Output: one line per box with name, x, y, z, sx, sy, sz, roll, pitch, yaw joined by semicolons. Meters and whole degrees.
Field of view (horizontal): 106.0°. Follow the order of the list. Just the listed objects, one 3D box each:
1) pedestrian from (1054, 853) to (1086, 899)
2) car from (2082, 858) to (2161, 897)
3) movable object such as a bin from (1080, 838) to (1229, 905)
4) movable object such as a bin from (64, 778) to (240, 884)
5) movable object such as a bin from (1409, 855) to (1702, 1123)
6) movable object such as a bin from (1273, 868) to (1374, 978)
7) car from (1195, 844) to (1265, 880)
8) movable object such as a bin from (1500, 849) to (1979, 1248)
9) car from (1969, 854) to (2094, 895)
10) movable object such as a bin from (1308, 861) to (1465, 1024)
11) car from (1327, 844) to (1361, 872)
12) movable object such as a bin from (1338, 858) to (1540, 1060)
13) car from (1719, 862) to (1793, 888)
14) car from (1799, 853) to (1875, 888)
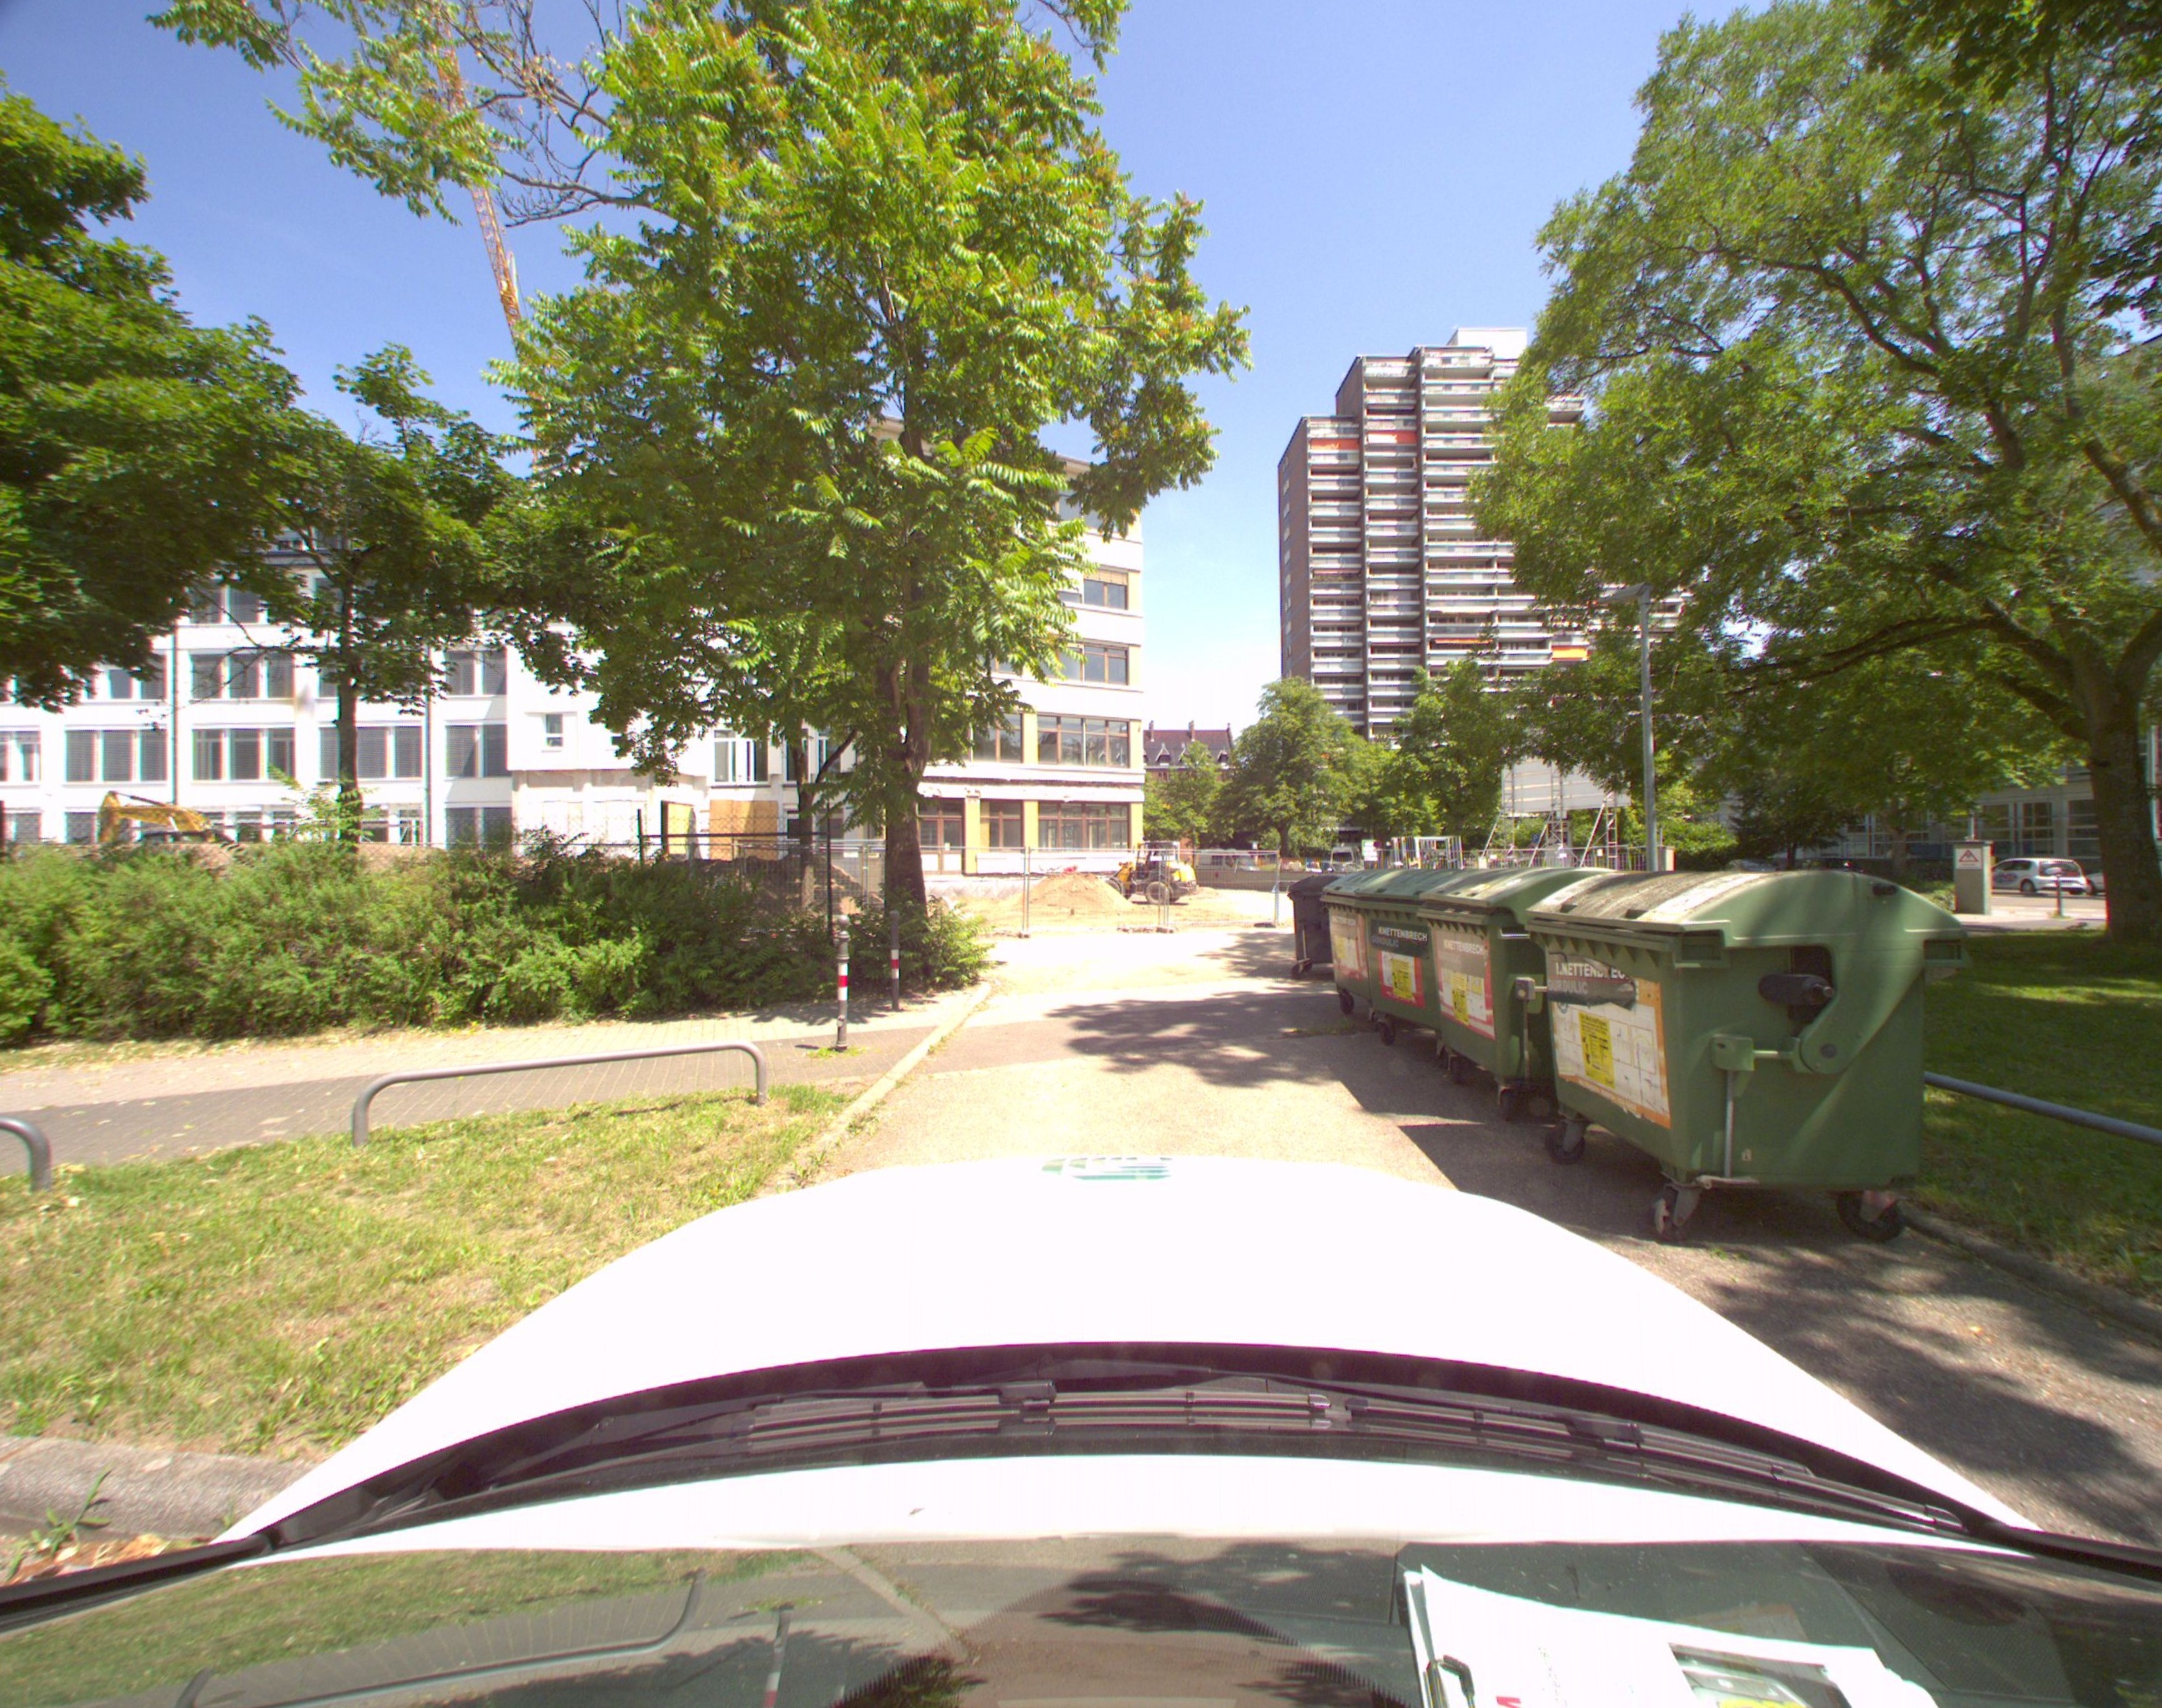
pedestrian;-0.469;0.905;33.789;0.973;1.847;0.923;-1;-1;31
car;40.642;0.863;30.936;1.650;1.415;3.730;-1;-1;21
movable object such as a bin;2.915;0.623;32.369;5.352;2.464;2.382;1;0;27
movable object such as a bin;-40.038;-0.926;35.186;5.676;4.372;2.003;-1;-1;5
movable object such as a bin;2.867;0.751;5.145;1.071;1.458;1.378;-1;-1;3
movable object such as a bin;3.388;0.931;11.534;1.071;1.458;1.378;-1;-1;3
car;10.275;0.584;56.629;2.004;2.416;5.197;0;-1;-27
movable object such as a bin;2.782;0.729;3.703;1.071;1.458;1.378;-1;-1;3
car;39.494;0.839;33.960;1.651;1.590;3.709;-1;-1;18
movable object such as a bin;2.944;0.810;8.040;1.071;1.458;1.378;-1;-1;3
car;22.112;0.334;68.245;2.165;2.258;4.896;-1;-1;24
movable object such as a bin;2.823;0.774;6.620;1.071;1.458;1.378;-1;-1;3
car;34.908;1.067;42.232;1.897;1.310;3.952;-1;-1;24
car;36.638;0.777;39.581;1.992;1.629;3.955;-1;-1;32
